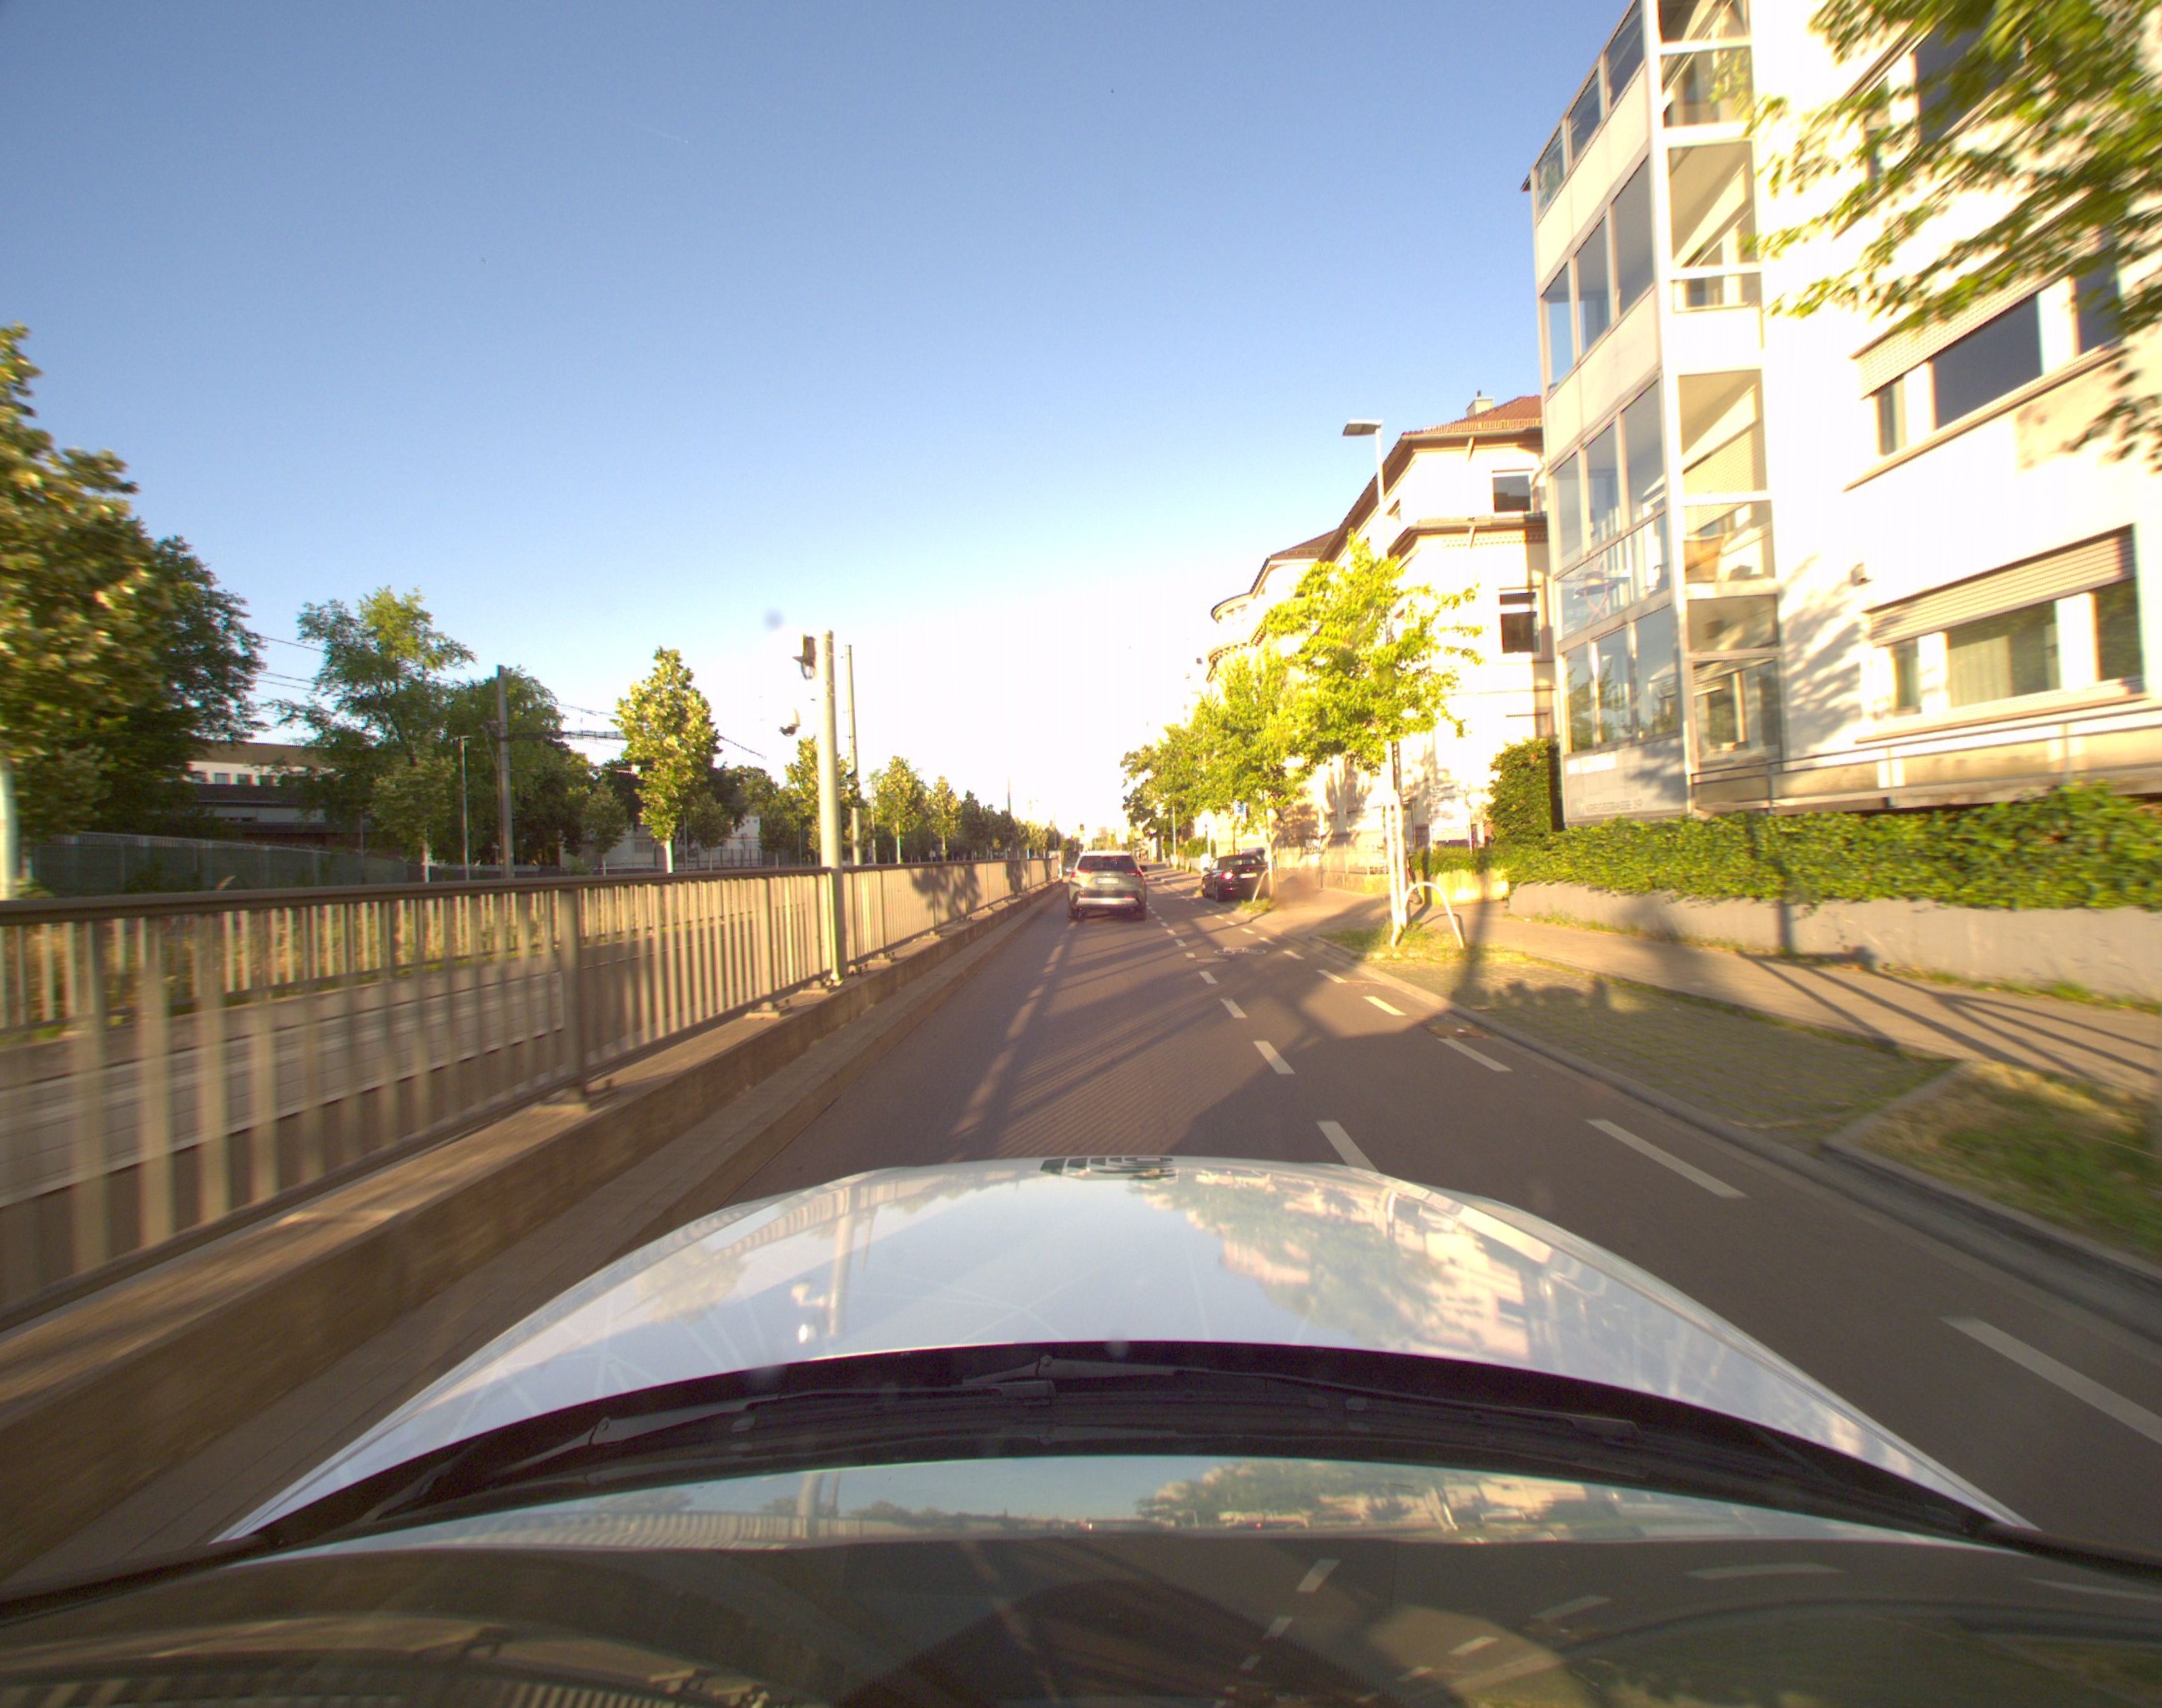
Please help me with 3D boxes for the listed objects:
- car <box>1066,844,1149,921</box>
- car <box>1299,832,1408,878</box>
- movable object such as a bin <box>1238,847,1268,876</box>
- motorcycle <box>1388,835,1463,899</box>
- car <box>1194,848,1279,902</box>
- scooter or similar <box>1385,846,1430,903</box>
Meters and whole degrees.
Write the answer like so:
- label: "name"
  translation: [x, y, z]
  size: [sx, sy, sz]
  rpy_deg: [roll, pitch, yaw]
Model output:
- label: "car"
  translation: [0.611, 0.656, 20.413]
  size: [1.852, 1.714, 4.192]
  rpy_deg: [-1, 0, 0]
- label: "car"
  translation: [12.094, 0.056, 36.389]
  size: [4.176, 1.570, 1.918]
  rpy_deg: [-6, 0, 4]
- label: "movable object such as a bin"
  translation: [8.966, 0.384, 42.587]
  size: [1.256, 1.462, 1.123]
  rpy_deg: [-2, 0, -2]
- label: "motorcycle"
  translation: [8.429, 0.306, 19.976]
  size: [1.492, 1.413, 0.626]
  rpy_deg: [-4, 1, -2]
- label: "car"
  translation: [4.994, 0.630, 26.764]
  size: [1.787, 1.471, 4.443]
  rpy_deg: [-5, 0, -1]
- label: "scooter or similar"
  translation: [7.424, 0.464, 18.560]
  size: [0.489, 1.258, 1.207]
  rpy_deg: [-1, -1, -2]
